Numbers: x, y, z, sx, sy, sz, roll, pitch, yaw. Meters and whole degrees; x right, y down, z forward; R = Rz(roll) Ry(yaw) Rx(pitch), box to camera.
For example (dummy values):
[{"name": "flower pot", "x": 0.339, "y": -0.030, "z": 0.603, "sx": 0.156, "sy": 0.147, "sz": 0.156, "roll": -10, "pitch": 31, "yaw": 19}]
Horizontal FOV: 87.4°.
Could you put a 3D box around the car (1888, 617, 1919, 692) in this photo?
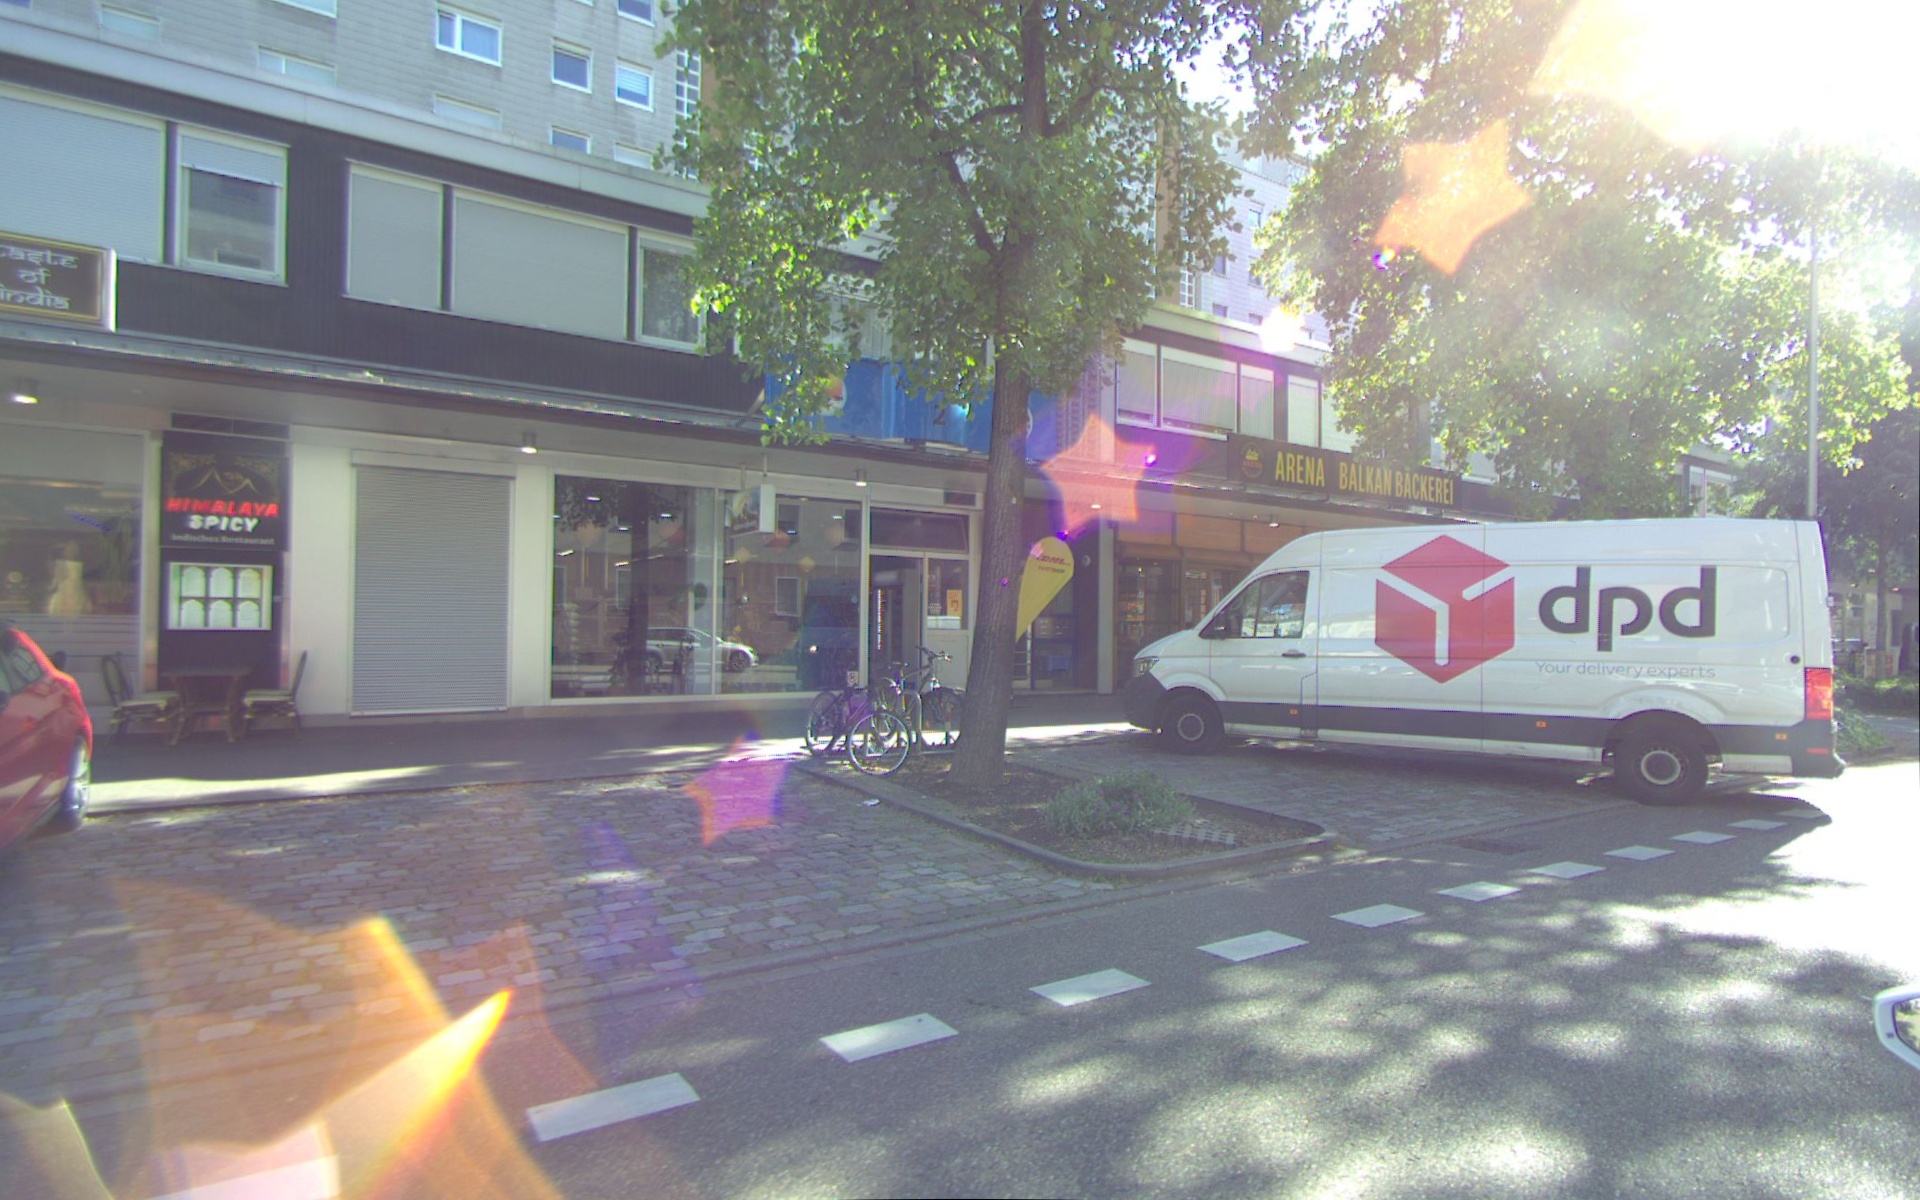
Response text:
[{"name": "car", "x": 27.819, "y": 1.532, "z": 25.970, "sx": 1.993, "sy": 2.000, "sz": 5.262, "roll": 2, "pitch": 0, "yaw": -32}]

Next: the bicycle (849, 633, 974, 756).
[{"name": "bicycle", "x": -0.573, "y": 0.978, "z": 10.972, "sx": 0.579, "sy": 1.121, "sz": 1.860, "roll": 2, "pitch": 1, "yaw": -29}]

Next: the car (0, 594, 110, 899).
[{"name": "car", "x": -5.696, "y": 0.714, "z": 4.938, "sx": 1.691, "sy": 1.470, "sz": 3.897, "roll": 2, "pitch": 0, "yaw": -31}]

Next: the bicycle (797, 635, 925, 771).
[{"name": "bicycle", "x": -1.023, "y": 0.969, "z": 10.012, "sx": 0.615, "sy": 1.132, "sz": 1.711, "roll": 2, "pitch": 1, "yaw": -29}]

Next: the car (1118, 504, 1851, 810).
[{"name": "car", "x": 5.121, "y": 0.478, "z": 10.851, "sx": 6.491, "sy": 2.506, "sz": 1.995, "roll": 0, "pitch": -1, "yaw": 34}]
